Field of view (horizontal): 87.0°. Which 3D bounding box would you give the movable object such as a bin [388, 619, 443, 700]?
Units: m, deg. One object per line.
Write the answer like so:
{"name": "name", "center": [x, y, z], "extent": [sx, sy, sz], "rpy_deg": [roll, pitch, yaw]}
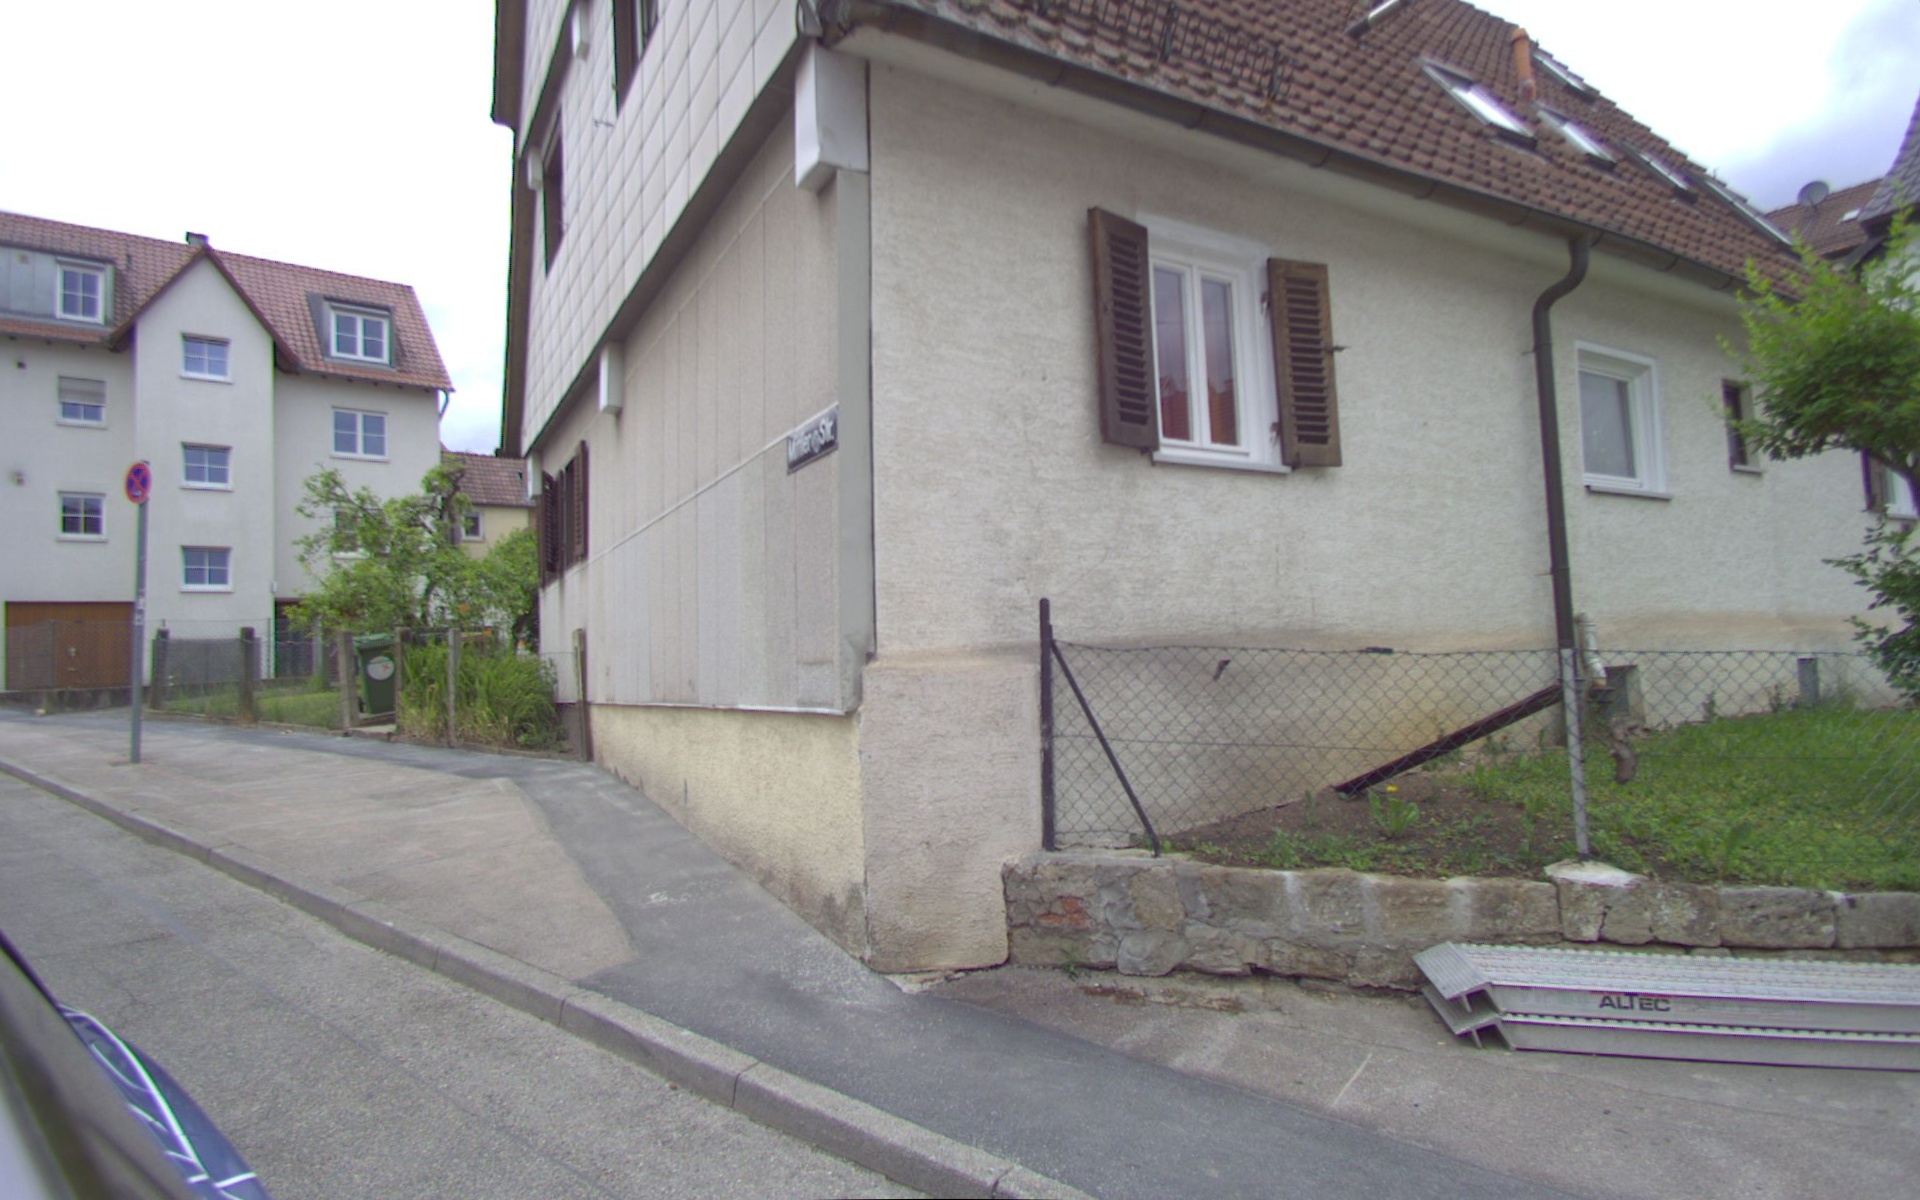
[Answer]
{"name": "movable object such as a bin", "center": [-6.696, 0.716, 12.444], "extent": [0.519, 0.924, 0.491], "rpy_deg": [-3, 3, -33]}

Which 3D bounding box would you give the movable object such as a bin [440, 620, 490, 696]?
{"name": "movable object such as a bin", "center": [-6.215, 0.712, 12.697], "extent": [0.488, 0.884, 0.454], "rpy_deg": [-3, 3, -33]}

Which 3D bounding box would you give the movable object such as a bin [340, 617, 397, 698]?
{"name": "movable object such as a bin", "center": [-6.975, 0.667, 11.931], "extent": [0.519, 0.890, 0.491], "rpy_deg": [-3, 3, -33]}
